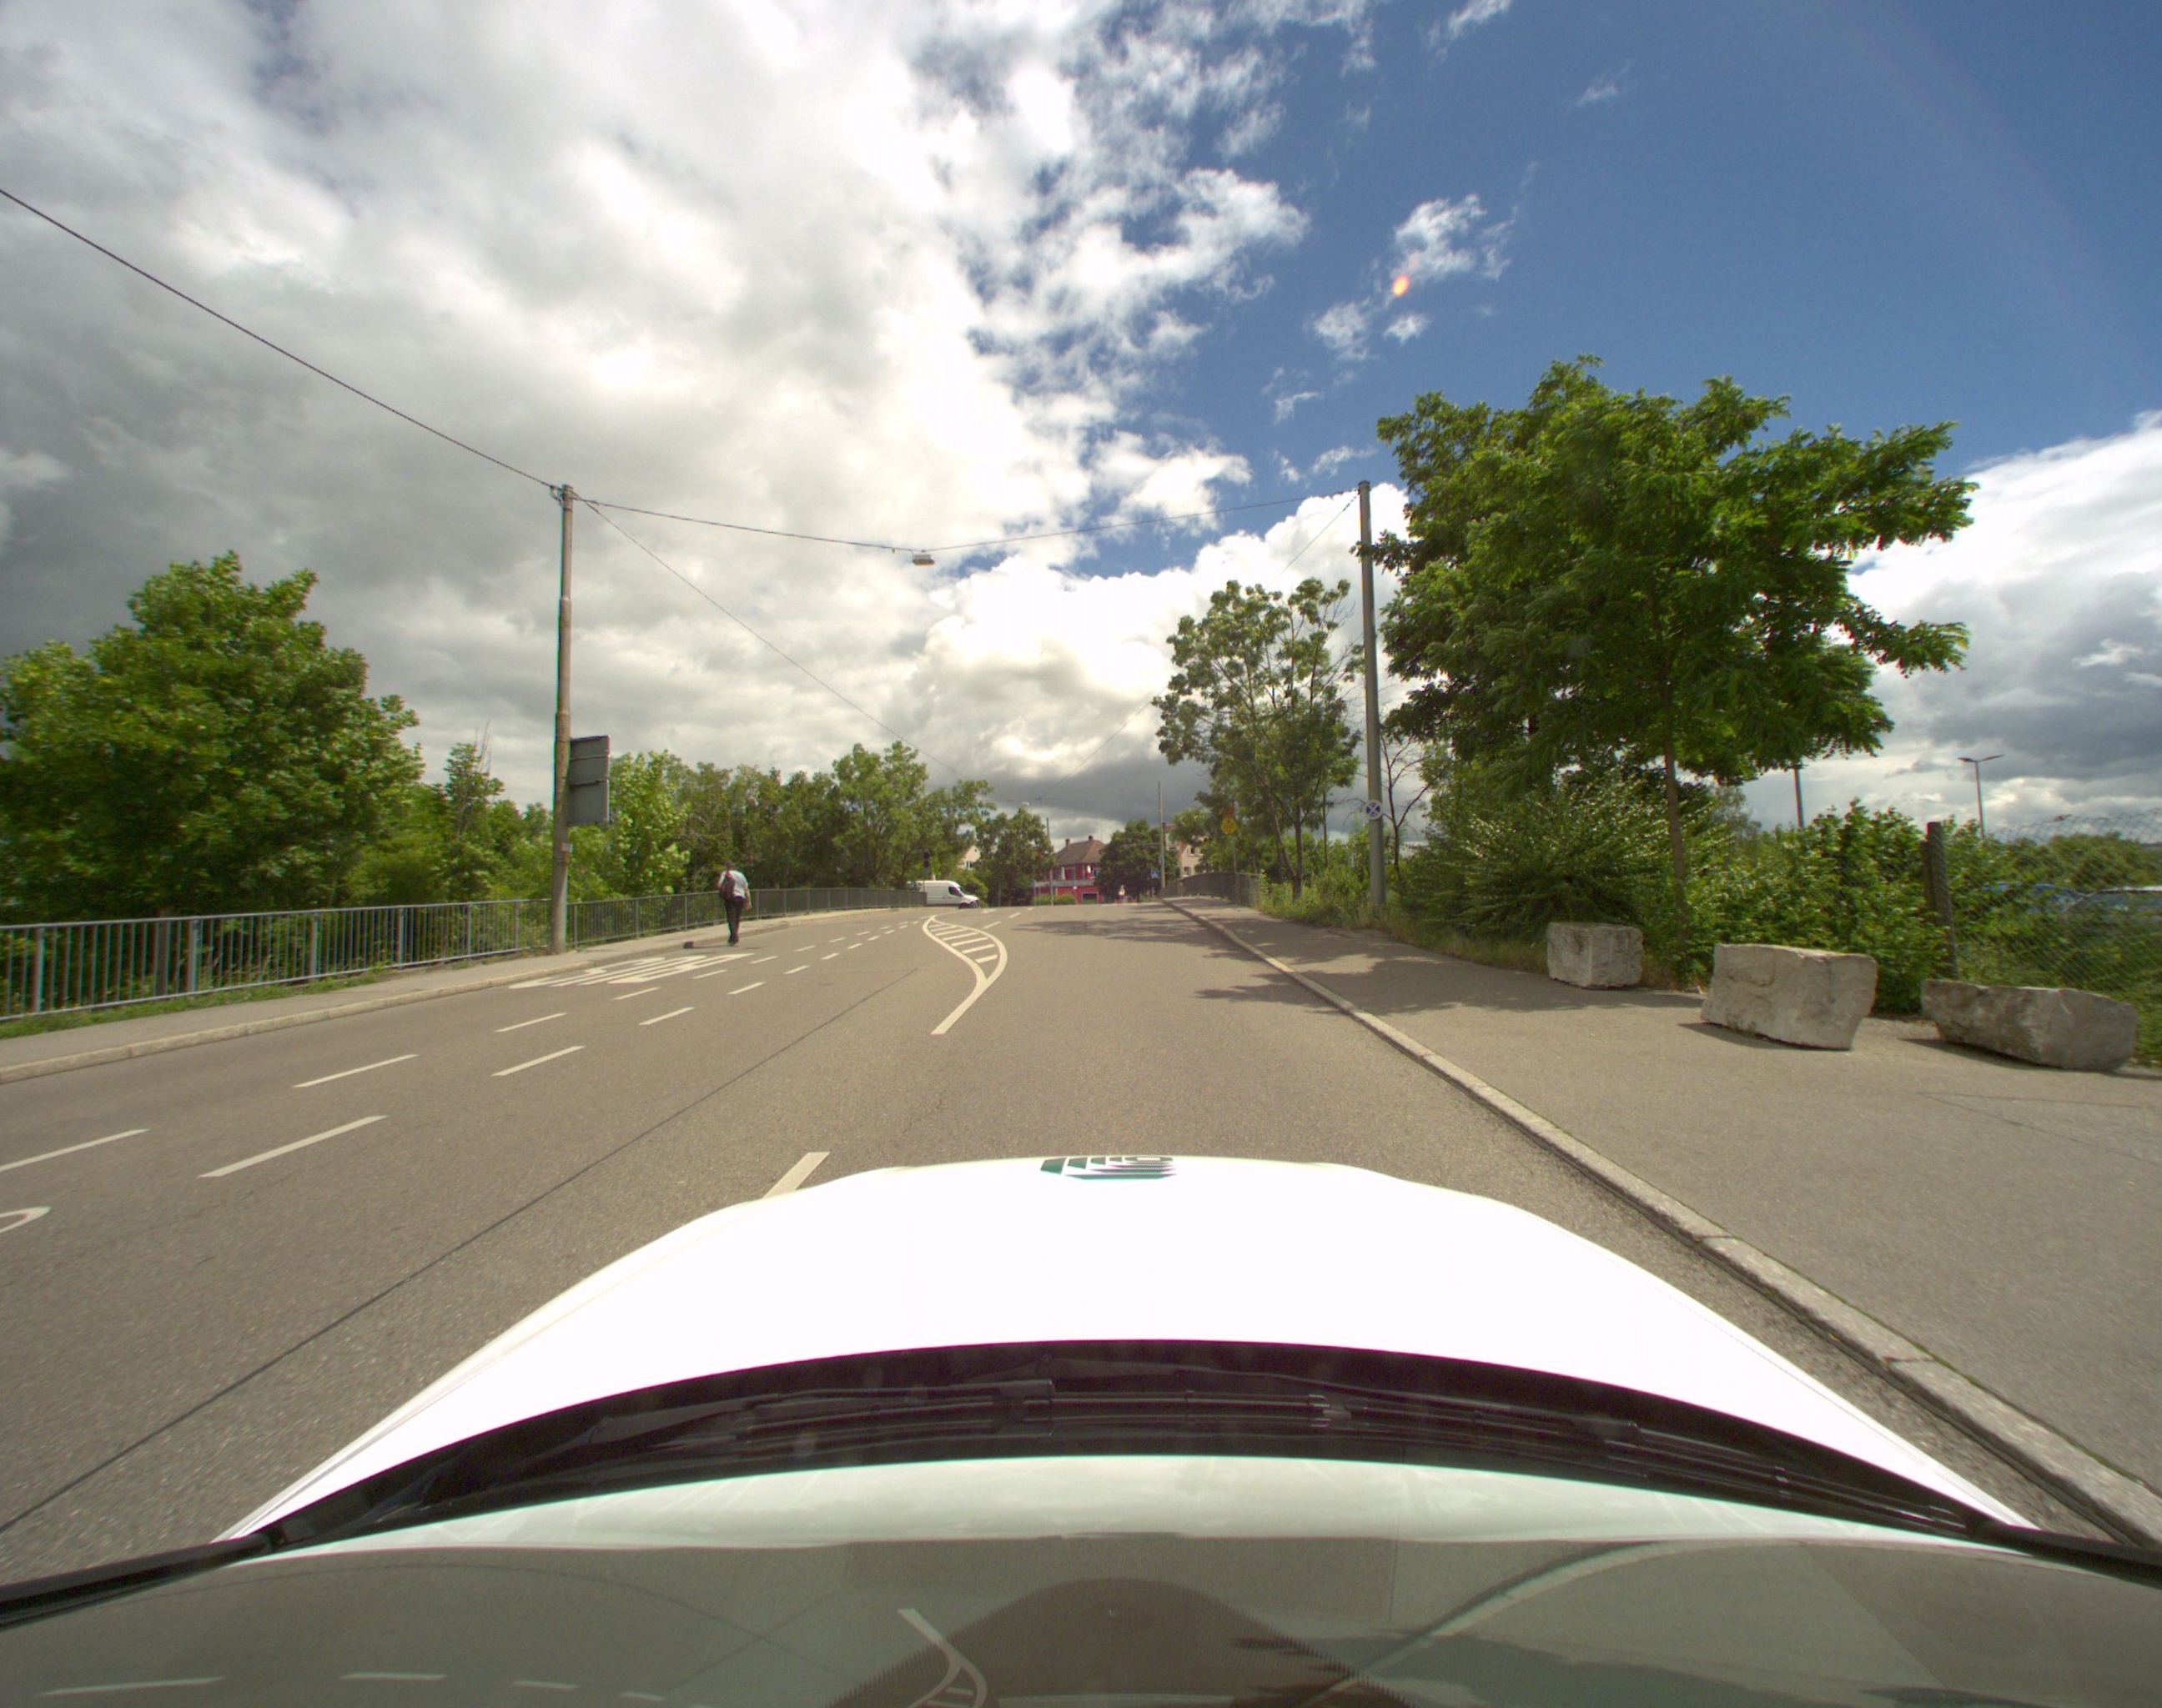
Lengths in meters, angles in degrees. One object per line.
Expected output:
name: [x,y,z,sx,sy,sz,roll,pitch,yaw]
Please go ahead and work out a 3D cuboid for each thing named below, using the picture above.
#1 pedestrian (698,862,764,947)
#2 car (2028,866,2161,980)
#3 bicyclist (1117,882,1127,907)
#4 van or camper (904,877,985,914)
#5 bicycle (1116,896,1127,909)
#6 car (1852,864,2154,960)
pedestrian: [-7.945,1.125,18.515,1.023,1.837,1.005,-2,-2,37]
car: [17.862,1.018,12.832,4.337,1.670,1.864,0,-3,-11]
bicyclist: [3.136,3.116,62.671,0.681,1.827,1.082,-2,-7,7]
van or camper: [-10.819,3.317,64.646,5.884,2.568,2.195,-3,-6,3]
bicycle: [3.143,3.735,62.628,0.684,0.879,2.105,-2,-7,7]
car: [17.797,1.088,15.807,4.337,1.670,1.864,0,-3,-11]
